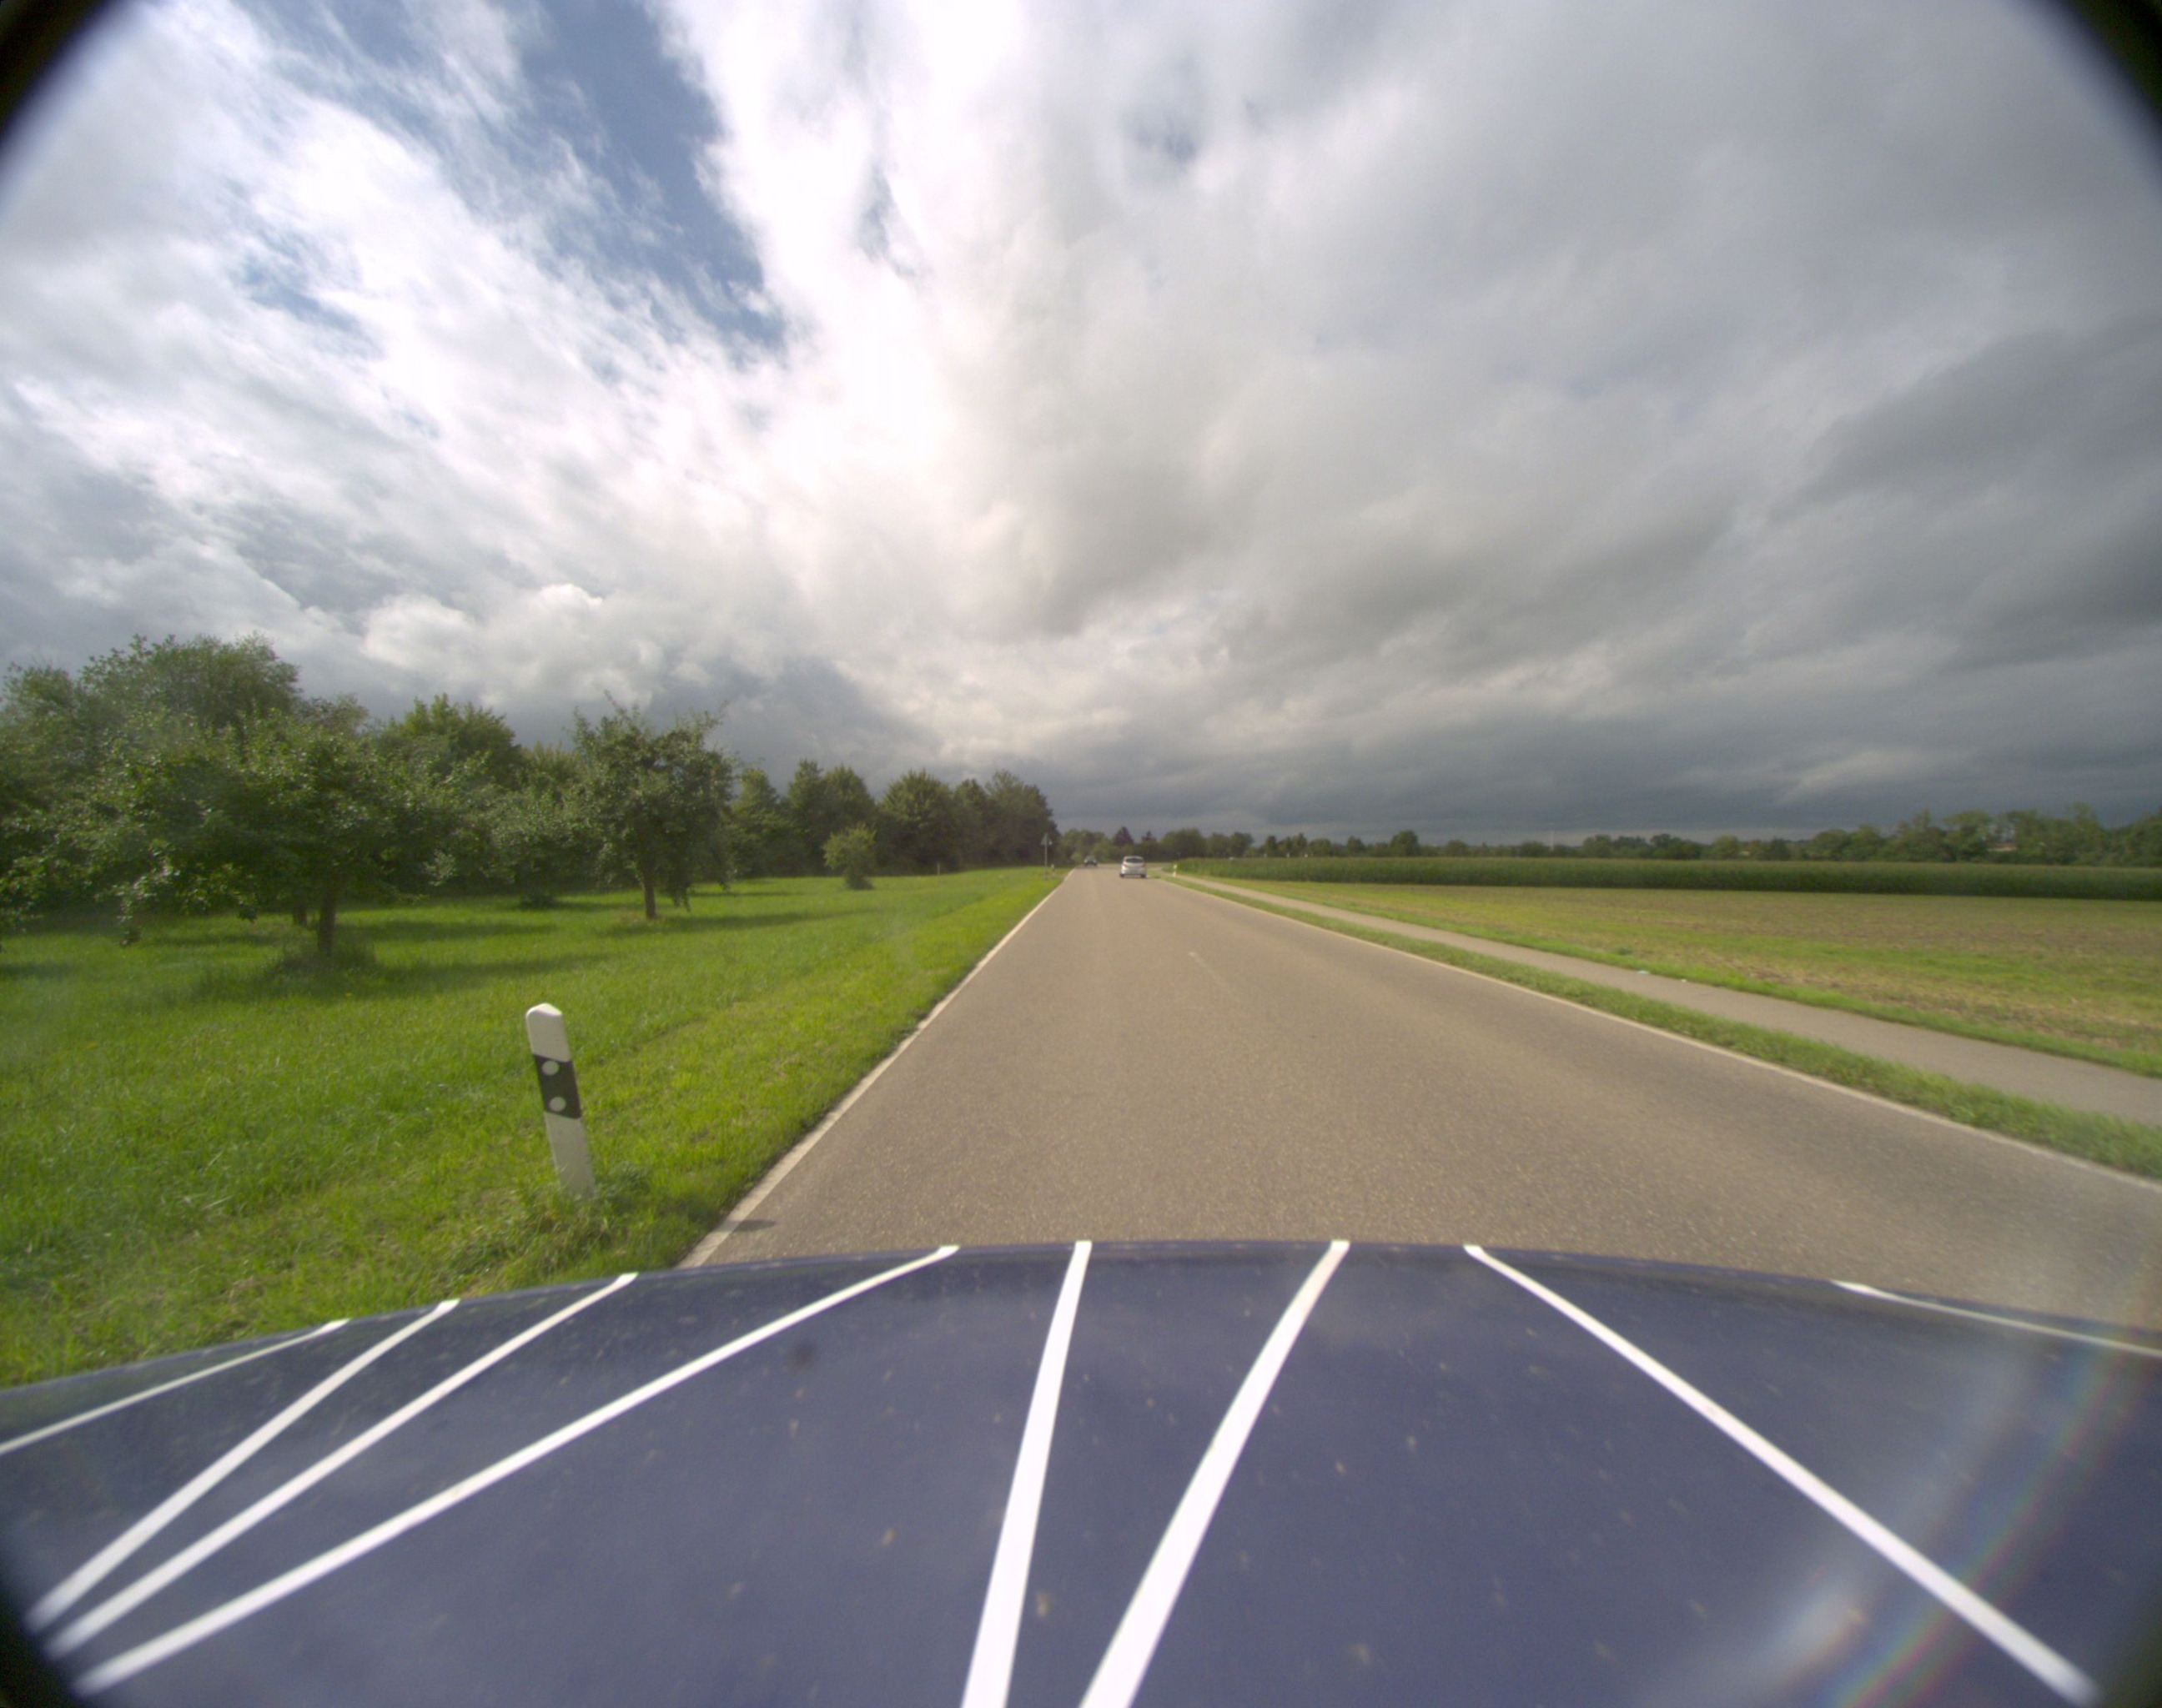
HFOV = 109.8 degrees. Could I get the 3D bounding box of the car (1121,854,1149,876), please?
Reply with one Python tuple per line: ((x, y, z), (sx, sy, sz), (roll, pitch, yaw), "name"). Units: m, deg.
((3.748, 0.746, 53.163), (1.699, 1.450, 3.543), (0, 0, 1), "car")
